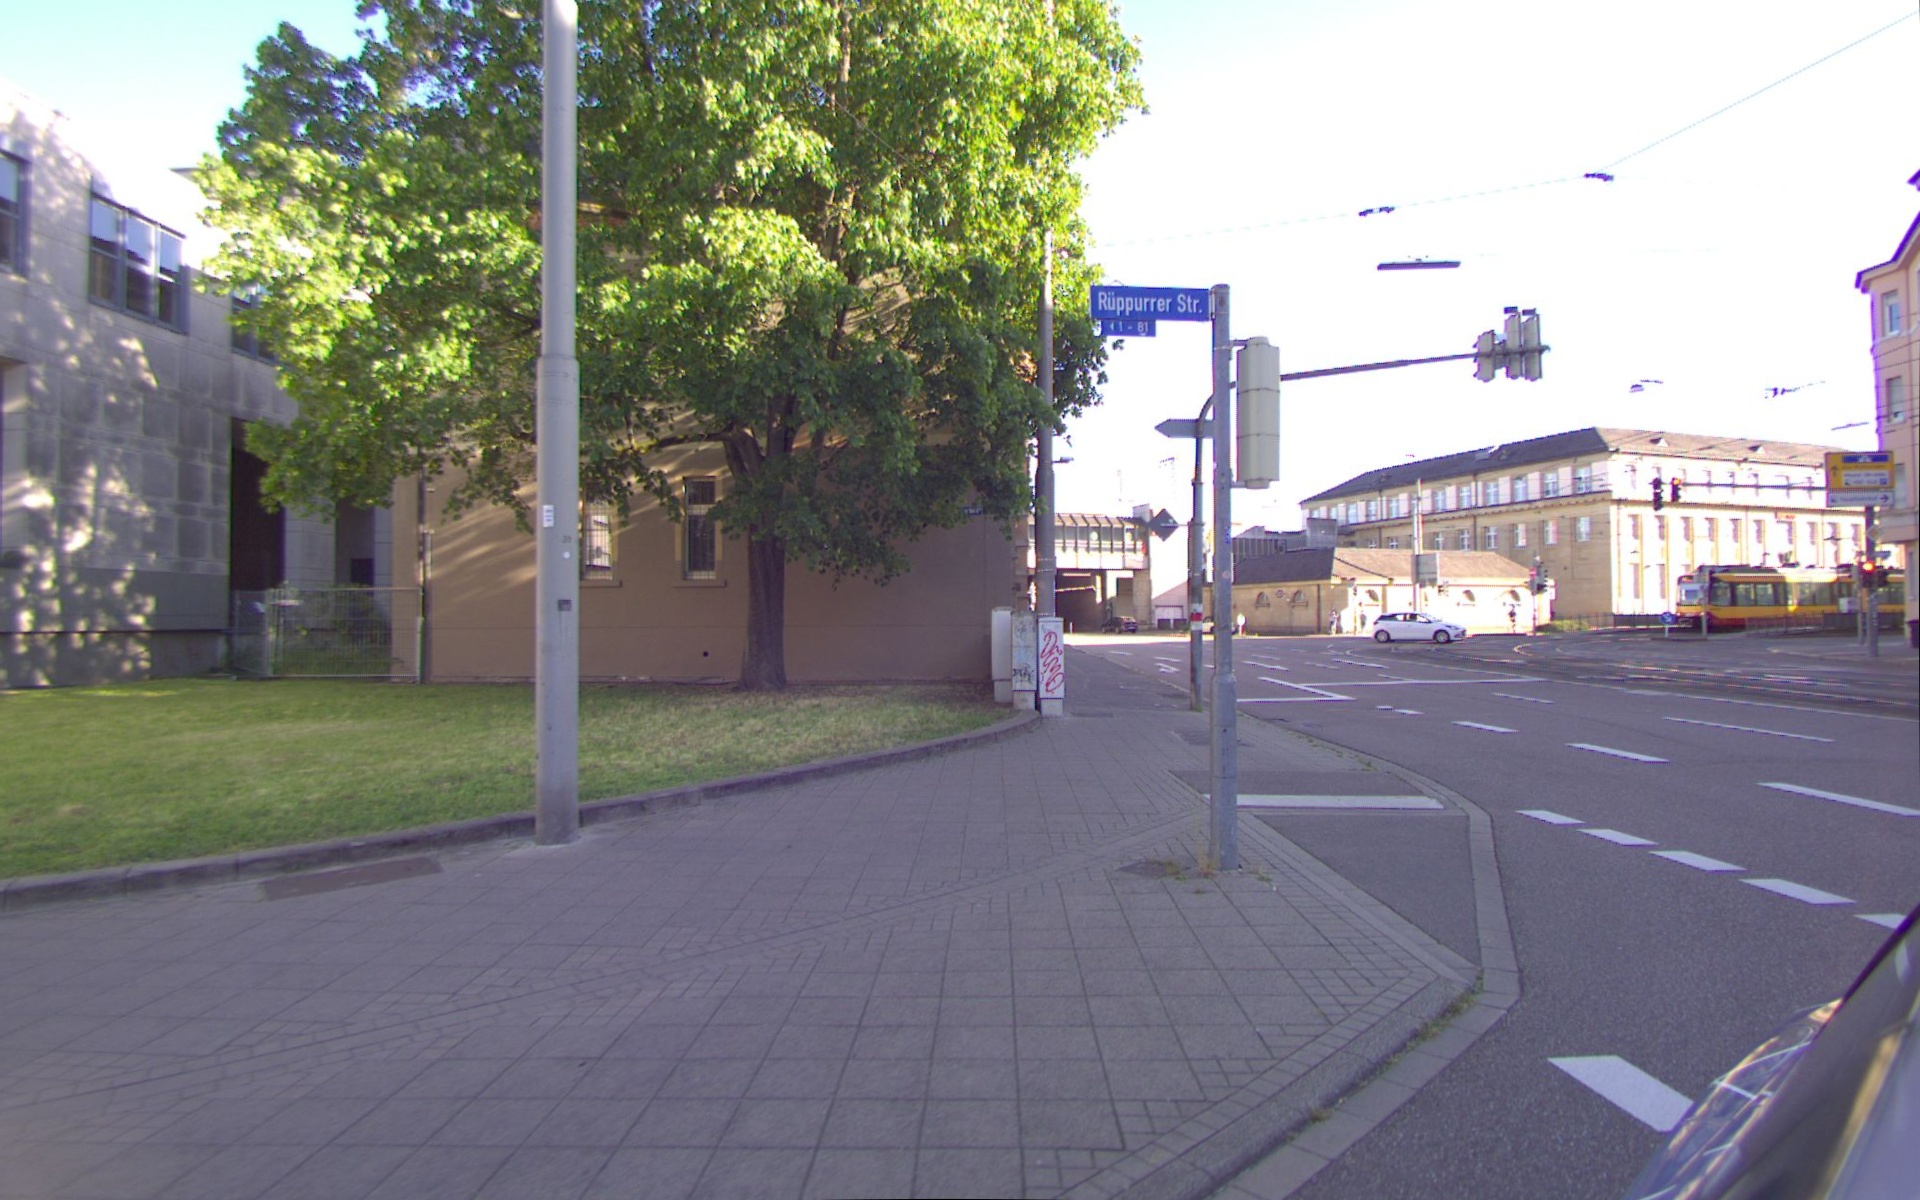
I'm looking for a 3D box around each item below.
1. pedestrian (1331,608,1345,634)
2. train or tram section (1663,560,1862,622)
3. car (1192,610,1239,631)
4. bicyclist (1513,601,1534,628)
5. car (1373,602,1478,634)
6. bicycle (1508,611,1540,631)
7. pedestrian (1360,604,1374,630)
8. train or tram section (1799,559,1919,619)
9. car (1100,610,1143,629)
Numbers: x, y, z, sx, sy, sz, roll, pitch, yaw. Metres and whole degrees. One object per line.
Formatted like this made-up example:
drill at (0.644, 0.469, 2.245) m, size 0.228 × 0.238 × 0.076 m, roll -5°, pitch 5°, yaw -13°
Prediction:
pedestrian at (24.715, 1.377, 66.173) m, size 0.623 × 1.661 × 0.506 m, roll -2°, pitch -2°, yaw 44°
train or tram section at (46.218, -0.504, 58.242) m, size 11.569 × 3.364 × 3.173 m, roll -1°, pitch -1°, yaw -19°
car at (17.837, 1.442, 70.782) m, size 1.695 × 1.393 × 3.540 m, roll 0°, pitch -1°, yaw -14°
bicyclist at (35.087, 0.880, 62.980) m, size 0.920 × 1.660 × 0.679 m, roll -1°, pitch -1°, yaw -24°
car at (21.178, 0.842, 46.090) m, size 4.078 × 1.412 × 1.769 m, roll -1°, pitch -1°, yaw 35°
bicycle at (35.101, 1.329, 62.977) m, size 2.031 × 1.150 × 0.686 m, roll -2°, pitch -1°, yaw -25°
pedestrian at (25.745, 1.091, 64.037) m, size 0.623 × 1.661 × 0.481 m, roll -2°, pitch -2°, yaw 44°
train or tram section at (56.626, -0.697, 61.856) m, size 10.457 × 3.399 × 3.171 m, roll -2°, pitch -1°, yaw -19°
car at (13.689, 1.649, 85.847) m, size 1.888 × 1.474 × 4.506 m, roll -1°, pitch -1°, yaw -15°
